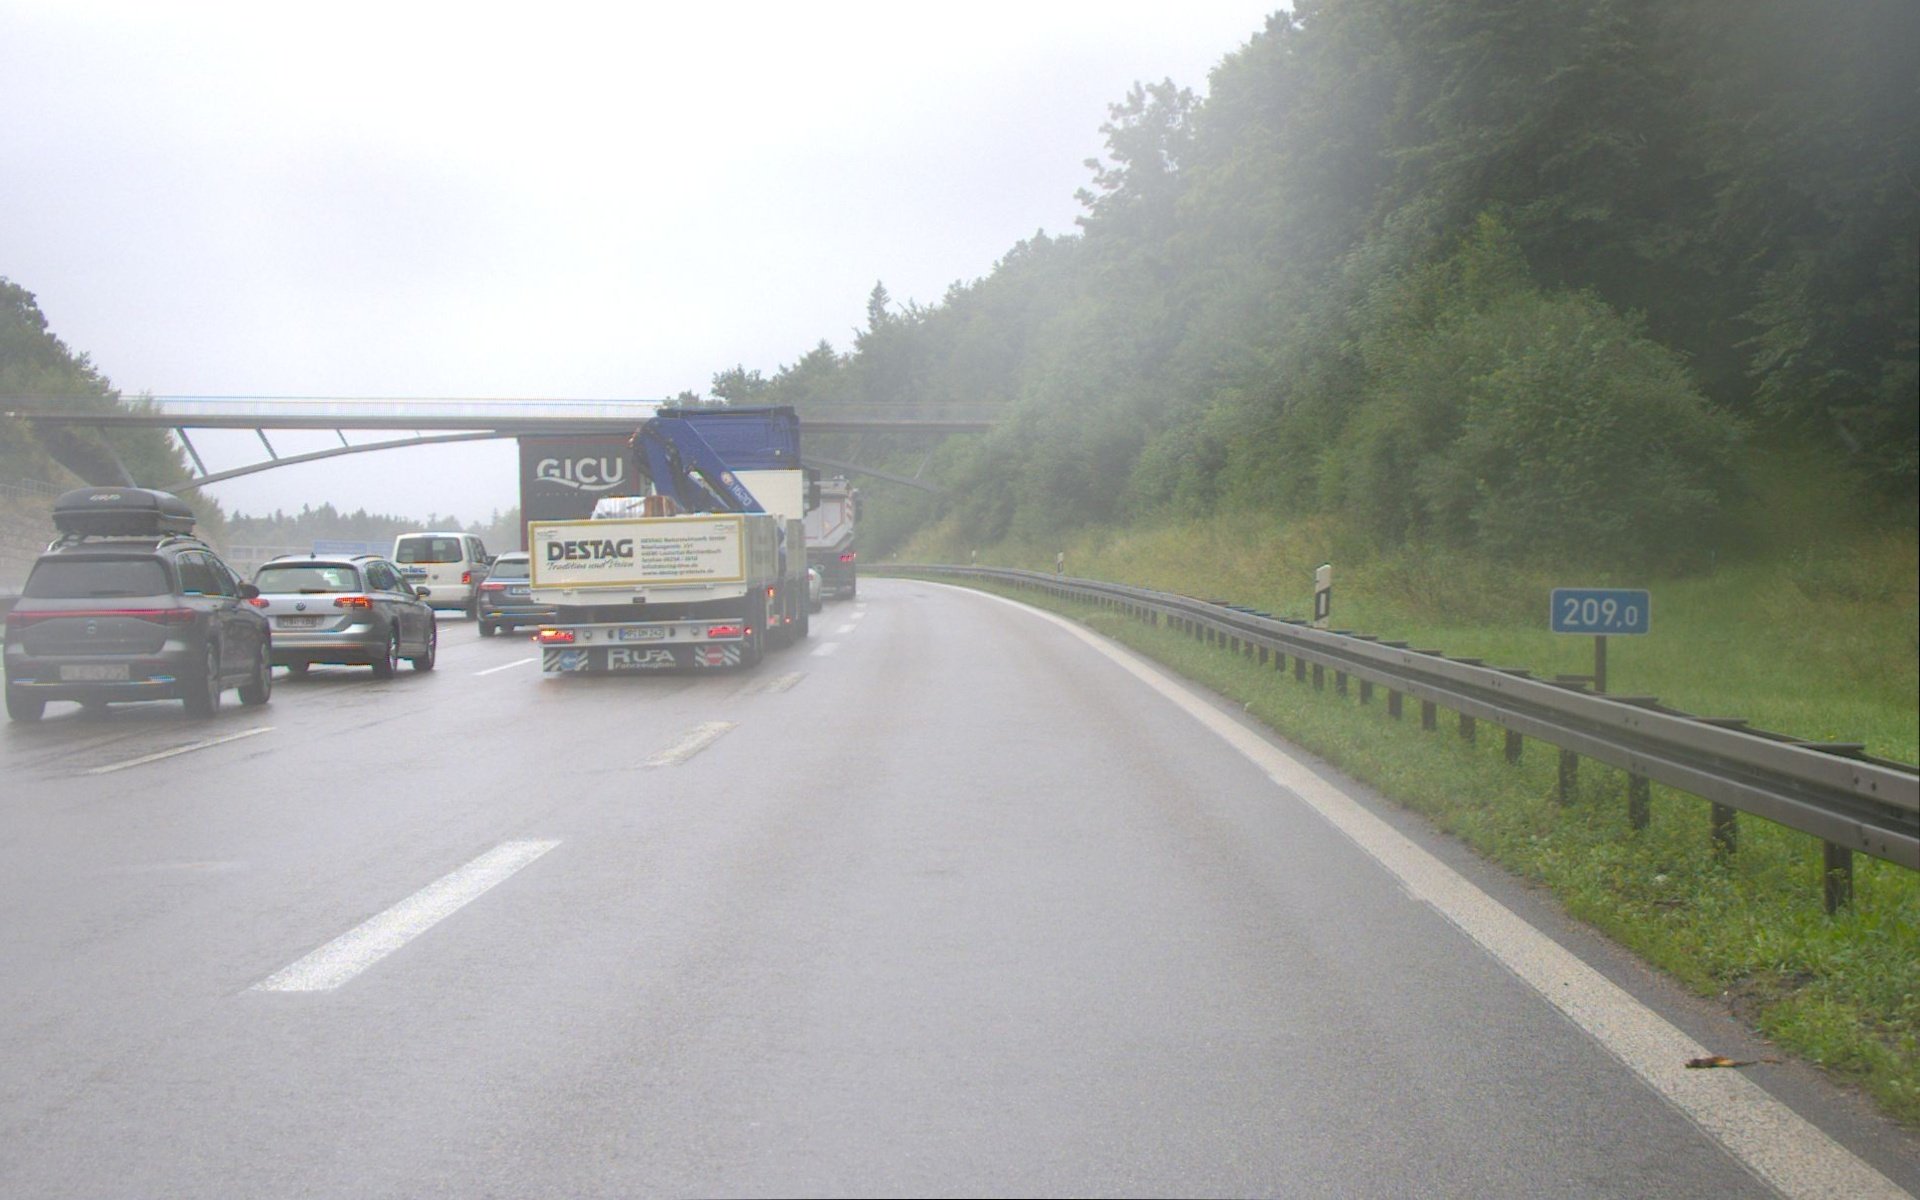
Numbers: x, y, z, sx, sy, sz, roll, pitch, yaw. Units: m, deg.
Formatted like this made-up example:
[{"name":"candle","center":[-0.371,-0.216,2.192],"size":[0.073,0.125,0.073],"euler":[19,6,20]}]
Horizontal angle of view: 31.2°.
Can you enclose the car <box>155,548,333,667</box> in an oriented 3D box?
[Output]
[{"name":"car","center":[-10.435,0.070,50.351],"size":[1.755,1.641,4.000],"euler":[-1,1,0]}]

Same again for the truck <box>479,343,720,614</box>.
[{"name":"truck","center":[-7.984,-2.562,77.803],"size":[3.755,5.480,10.171],"euler":[3,-1,2]}]

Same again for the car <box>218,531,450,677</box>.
[{"name":"car","center":[-7.461,0.012,41.340],"size":[1.938,1.656,4.000],"euler":[-1,1,2]}]

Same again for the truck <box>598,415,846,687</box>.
[{"name":"truck","center":[-4.063,-0.756,61.484],"size":[3.507,4.253,10.603],"euler":[3,-1,0]}]

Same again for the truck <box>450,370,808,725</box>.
[{"name":"truck","center":[-4.105,-0.719,45.833],"size":[3.600,4.091,11.560],"euler":[-1,1,0]}]

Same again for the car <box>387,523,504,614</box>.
[{"name":"car","center":[-11.455,-0.678,76.762],"size":[1.844,1.853,4.000],"euler":[3,-1,1]}]

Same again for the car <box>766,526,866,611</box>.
[{"name":"car","center":[-3.295,-0.699,79.380],"size":[1.993,1.794,4.000],"euler":[3,-1,1]}]

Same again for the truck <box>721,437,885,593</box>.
[{"name":"truck","center":[-4.410,-2.335,99.469],"size":[3.755,3.957,11.058],"euler":[3,-1,1]}]

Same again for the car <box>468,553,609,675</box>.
[{"name":"car","center":[-7.455,0.254,61.139],"size":[1.793,2.007,4.000],"euler":[3,-1,2]}]

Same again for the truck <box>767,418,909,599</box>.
[{"name":"truck","center":[-4.132,-3.047,119.421],"size":[4.336,5.744,9.730],"euler":[3,-1,0]}]

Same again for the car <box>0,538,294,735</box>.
[{"name":"car","center":[-7.669,0.331,31.995],"size":[1.993,1.630,4.000],"euler":[3,-1,1]}]

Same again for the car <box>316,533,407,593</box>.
[{"name":"car","center":[-15.888,-0.962,91.378],"size":[1.622,1.443,3.760],"euler":[3,-1,1]}]
